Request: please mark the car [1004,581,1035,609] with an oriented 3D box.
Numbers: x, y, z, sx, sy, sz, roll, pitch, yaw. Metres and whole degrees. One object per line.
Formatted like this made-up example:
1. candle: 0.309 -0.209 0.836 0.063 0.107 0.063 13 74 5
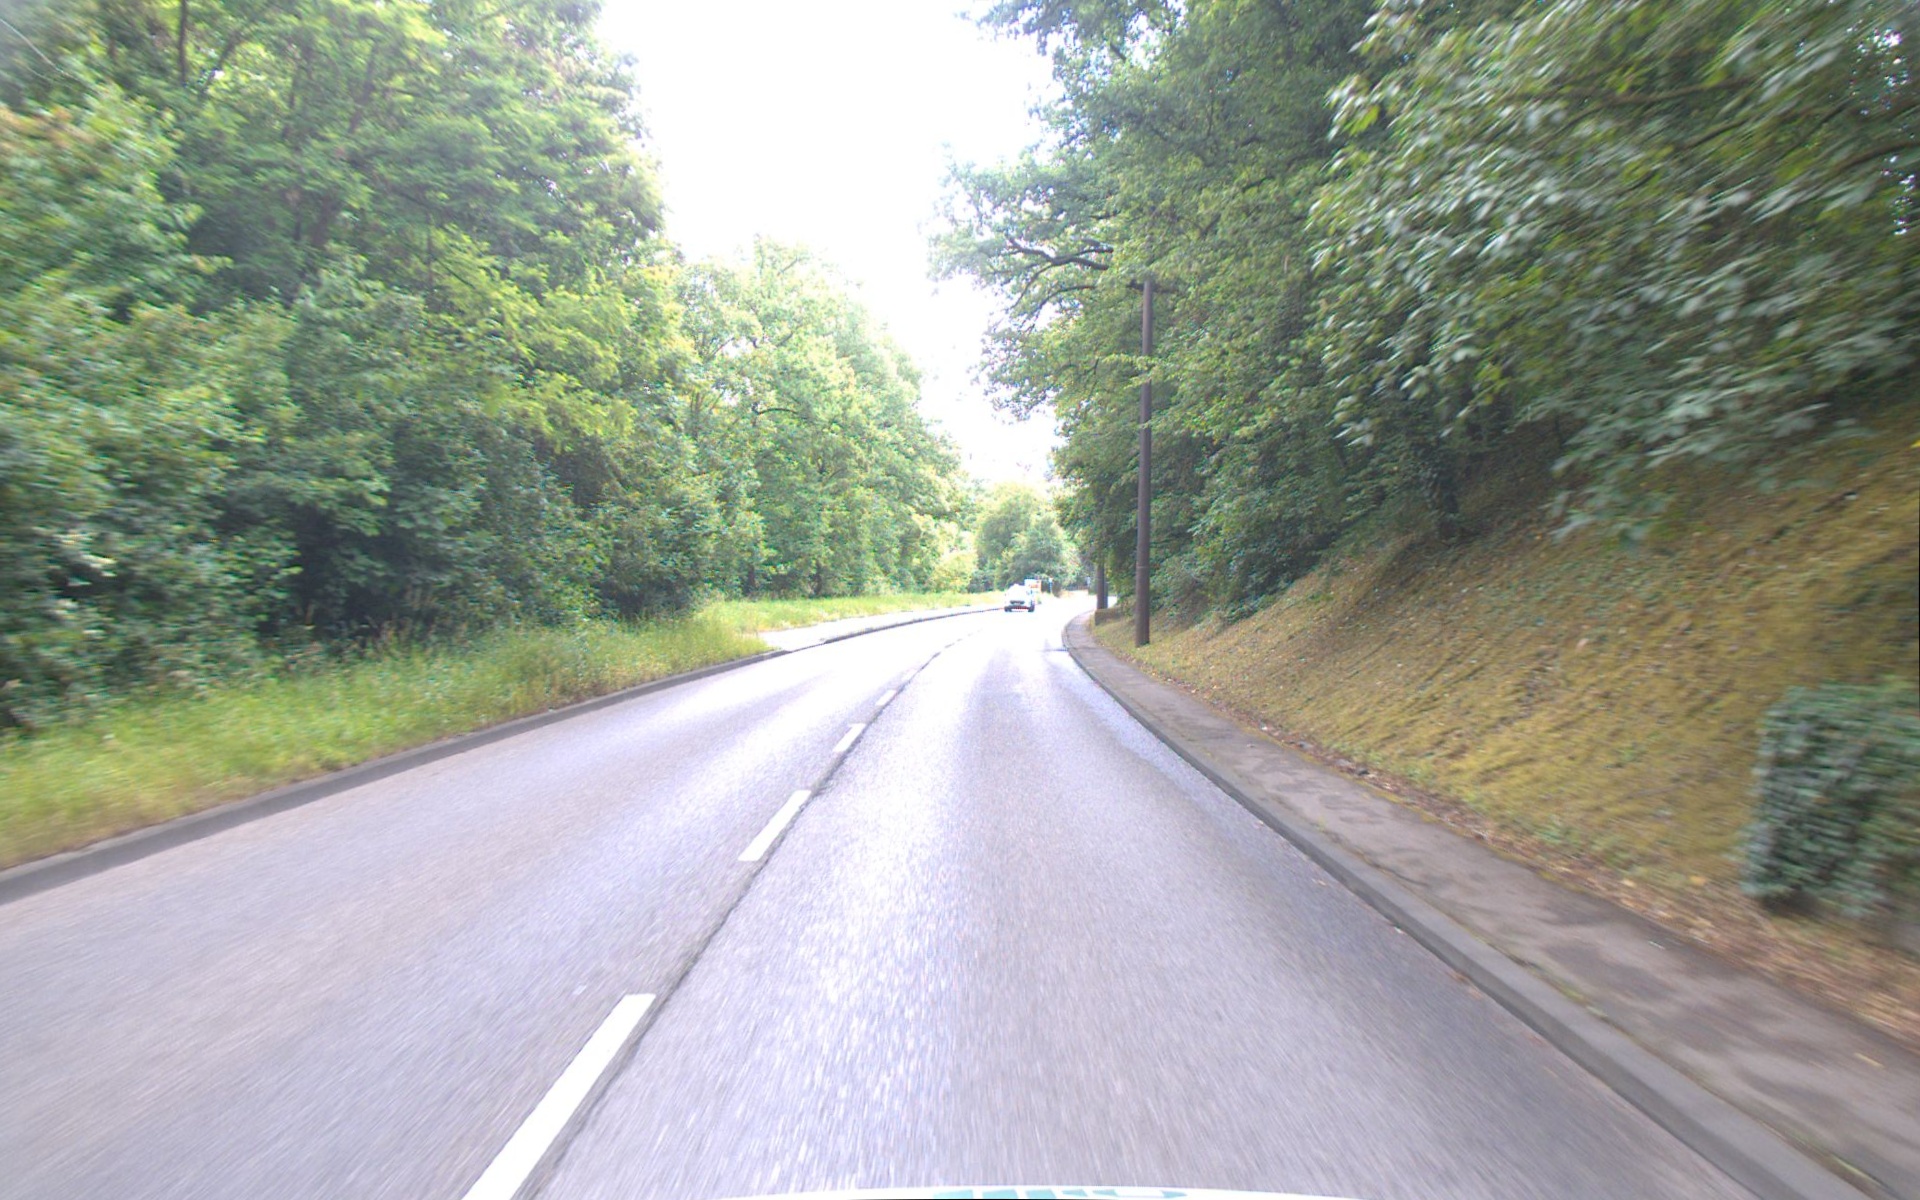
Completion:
1. car: 4.031 -0.317 111.389 1.952 1.784 4.784 1 -1 4
